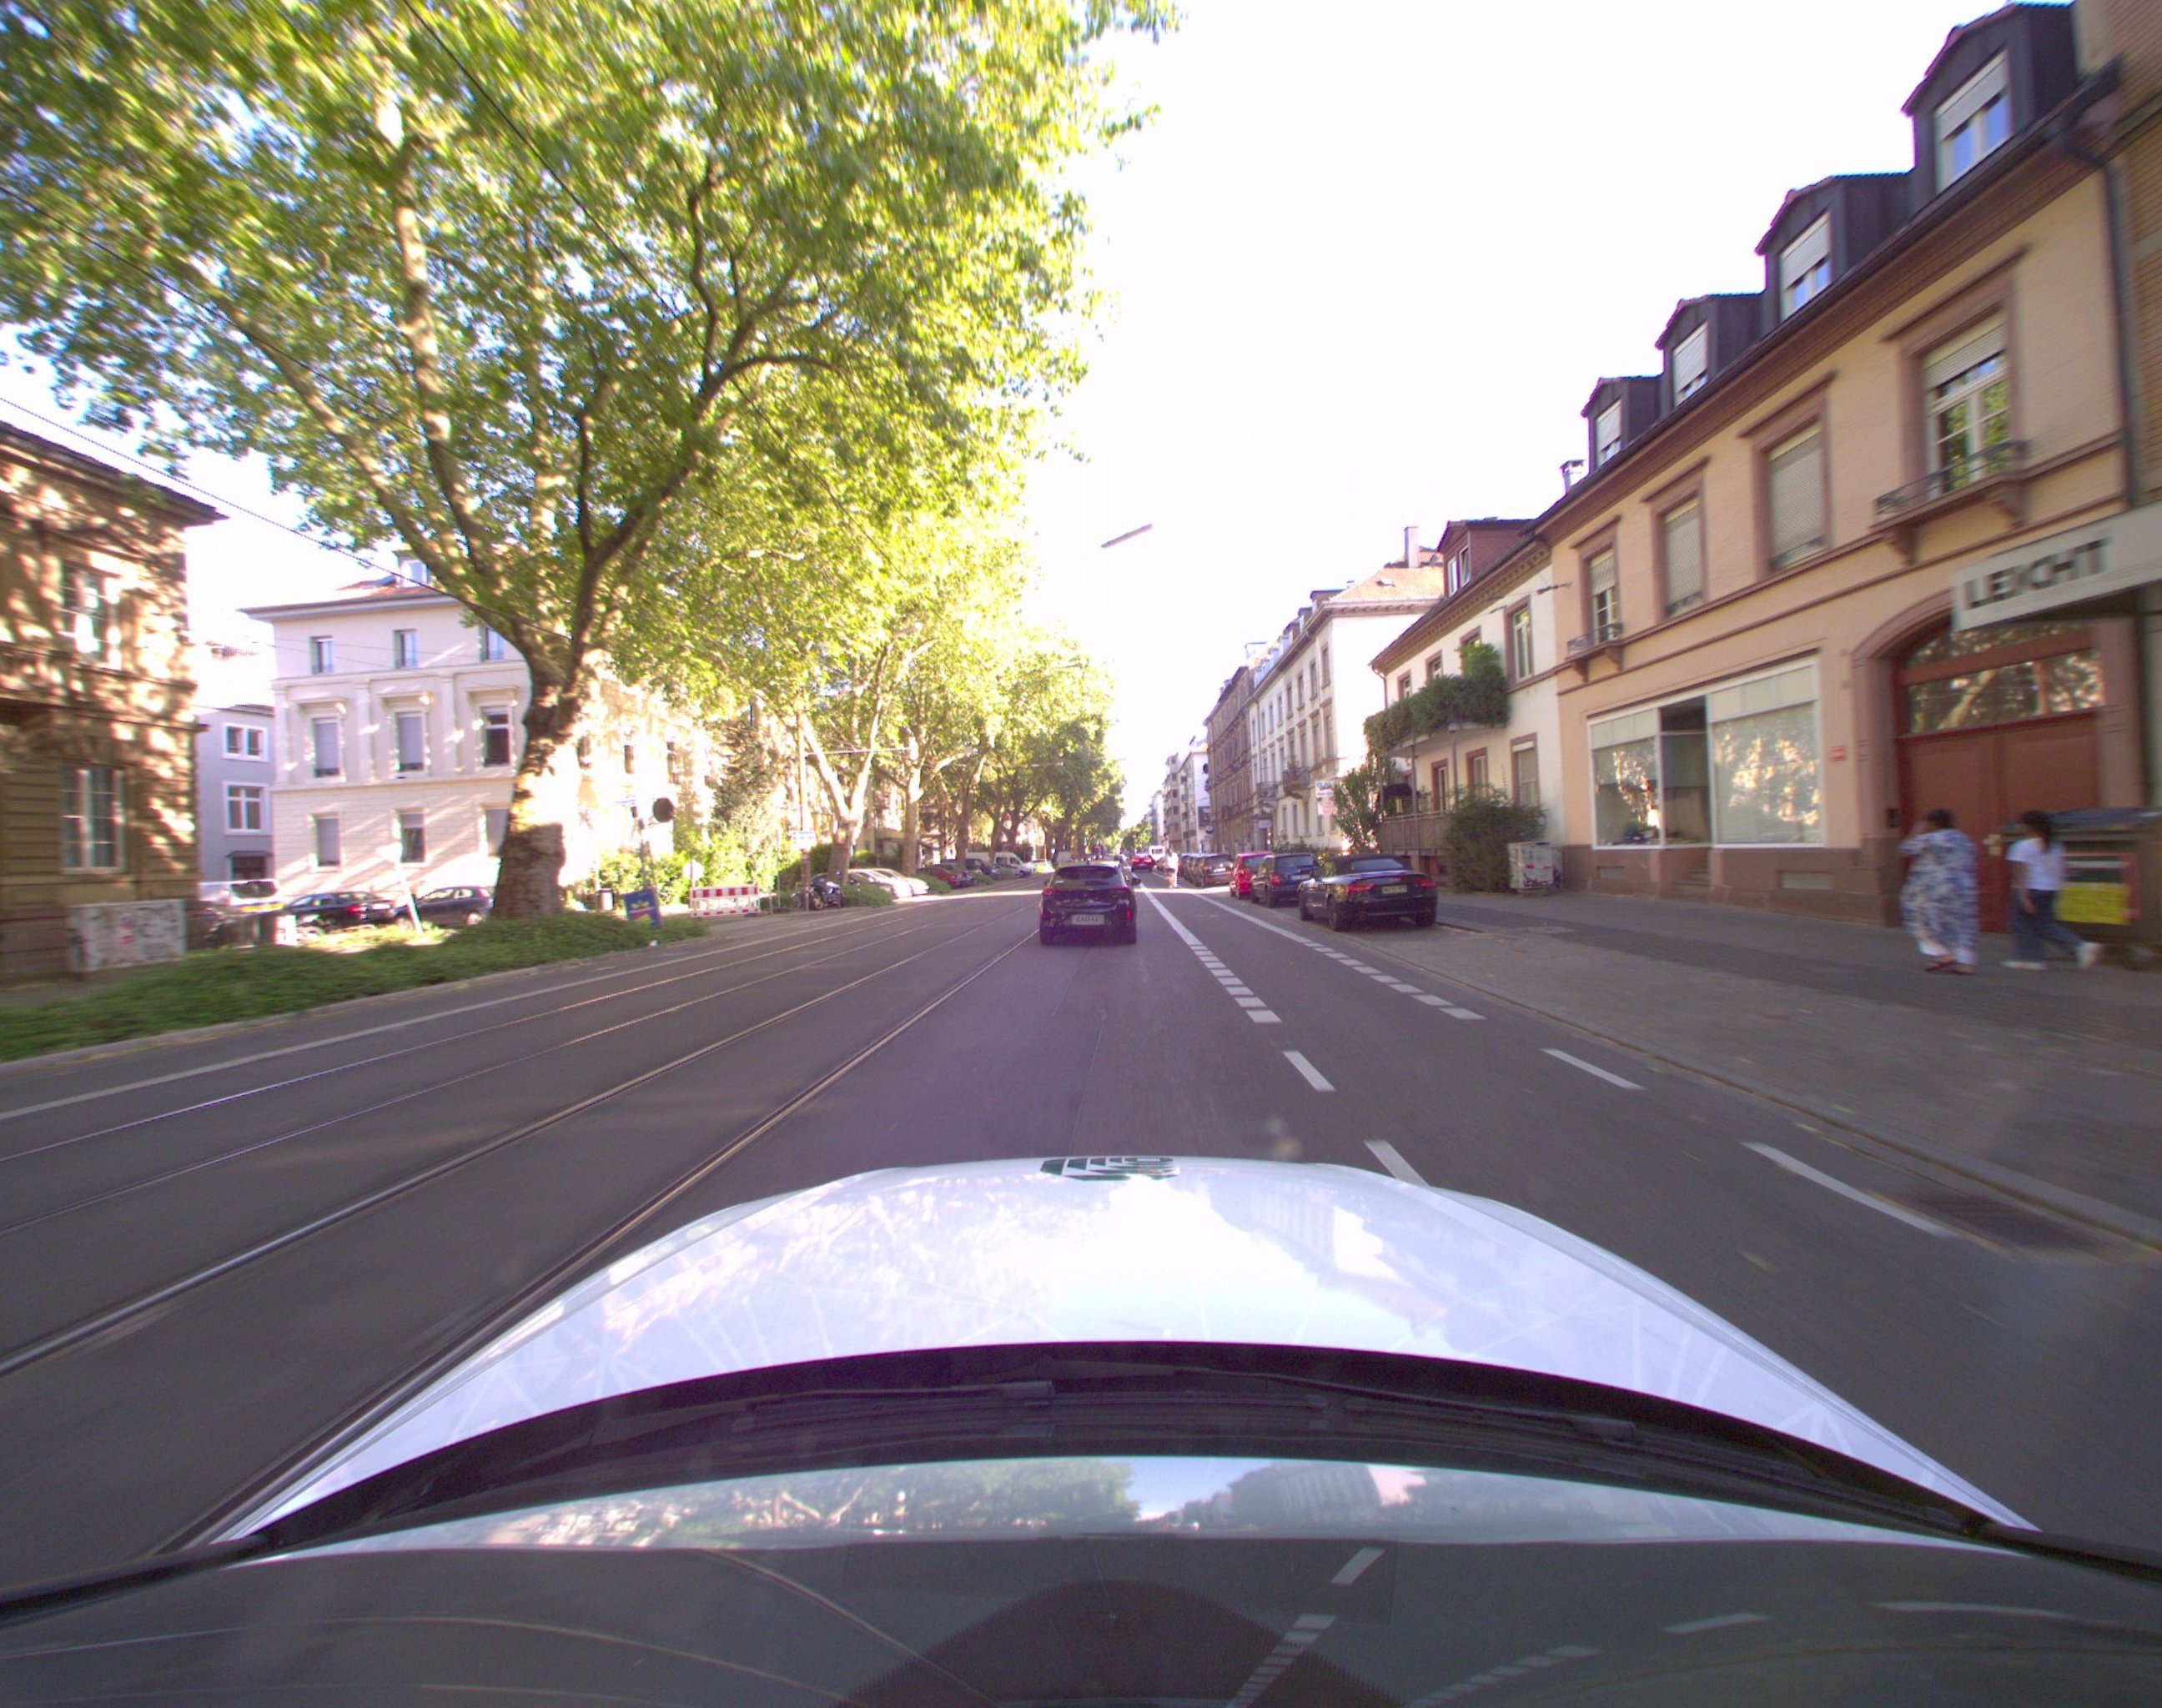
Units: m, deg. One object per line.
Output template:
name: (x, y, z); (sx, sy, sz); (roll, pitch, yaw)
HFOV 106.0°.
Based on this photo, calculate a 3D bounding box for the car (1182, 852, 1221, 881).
car: (7.160, 0.720, 48.715); (1.872, 1.456, 4.030); (-6, -1, 4)

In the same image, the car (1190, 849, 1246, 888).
car: (6.561, 0.691, 39.440); (1.874, 1.586, 3.931); (-6, -1, 0)

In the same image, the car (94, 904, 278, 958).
car: (-25.159, 2.128, 22.940); (3.891, 1.332, 1.855); (-1, -1, 14)

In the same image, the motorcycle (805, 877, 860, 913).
motorcycle: (-9.106, 1.492, 29.961); (0.879, 1.147, 2.397); (-2, 0, 11)

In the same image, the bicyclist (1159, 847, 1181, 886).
bicyclist: (4.063, 0.576, 37.210); (0.845, 1.740, 1.162); (-2, -1, 1)

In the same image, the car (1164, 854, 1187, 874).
car: (7.938, 0.816, 68.540); (1.696, 1.456, 3.703); (-6, -1, 6)

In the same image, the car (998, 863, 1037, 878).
car: (-6.689, 1.690, 85.535); (3.907, 1.498, 1.677); (-1, -1, 0)

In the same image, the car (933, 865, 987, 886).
car: (-9.024, 1.605, 60.934); (3.719, 1.498, 1.748); (-1, -1, 2)

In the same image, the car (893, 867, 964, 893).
car: (-9.296, 1.581, 49.717); (3.904, 1.442, 1.750); (-1, -1, 3)

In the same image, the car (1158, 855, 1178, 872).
car: (8.503, 0.929, 79.634); (1.654, 1.419, 3.937); (-6, -1, 4)

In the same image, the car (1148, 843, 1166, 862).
car: (9.853, -0.126, 106.124); (2.066, 2.219, 4.938); (-6, -1, 4)

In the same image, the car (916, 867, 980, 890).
car: (-8.837, 1.605, 54.419); (3.906, 1.421, 1.819); (-1, -1, 1)

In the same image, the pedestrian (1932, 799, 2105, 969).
pedestrian: (8.744, 0.269, 7.635); (0.655, 1.483, 0.786); (-2, -1, 2)

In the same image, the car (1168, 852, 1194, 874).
car: (7.756, 0.706, 63.487); (1.562, 1.517, 3.040); (-6, -1, 1)

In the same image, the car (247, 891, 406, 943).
car: (-26.113, 2.154, 28.259); (3.903, 1.418, 1.696); (-3, 1, 3)

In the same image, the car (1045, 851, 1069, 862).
car: (-4.144, 0.443, 140.386); (3.907, 1.790, 1.677); (-1, -1, 0)

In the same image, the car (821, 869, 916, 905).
car: (-9.948, 1.522, 38.377); (3.906, 1.453, 1.801); (-3, -1, 2)

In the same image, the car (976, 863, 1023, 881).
car: (-7.304, 1.585, 73.204); (3.902, 1.498, 1.679); (-1, -1, 4)

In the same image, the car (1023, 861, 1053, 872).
car: (-5.731, 1.694, 109.873); (3.907, 1.498, 1.677); (-1, -1, 0)

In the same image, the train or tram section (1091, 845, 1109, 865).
train or tram section: (3.852, 0.190, 159.040); (2.723, 3.681, 12.729); (-3, 0, 4)

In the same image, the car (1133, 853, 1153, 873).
car: (5.881, 0.868, 77.234); (1.802, 1.742, 3.937); (-3, 0, 4)

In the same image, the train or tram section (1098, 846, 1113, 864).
train or tram section: (5.596, 0.268, 184.398); (2.723, 3.681, 12.729); (-3, 0, 4)

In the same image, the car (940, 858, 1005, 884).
car: (-8.490, 1.330, 63.847); (4.654, 1.924, 1.982); (-1, -1, 4)

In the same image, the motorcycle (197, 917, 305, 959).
motorcycle: (-22.821, 2.282, 22.441); (0.714, 0.977, 1.963); (-1, -1, 15)

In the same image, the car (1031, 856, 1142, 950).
car: (0.169, 0.815, 15.257); (1.787, 1.441, 3.534); (-2, 0, 2)

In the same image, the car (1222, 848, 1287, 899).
car: (5.923, 0.647, 28.112); (1.627, 1.546, 3.580); (-4, -1, 4)

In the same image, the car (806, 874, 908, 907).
car: (-9.798, 1.581, 35.846); (3.903, 1.332, 1.849); (-1, -1, 3)

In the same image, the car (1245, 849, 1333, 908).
car: (5.917, 0.673, 23.589); (1.644, 1.456, 3.871); (-4, -1, 3)

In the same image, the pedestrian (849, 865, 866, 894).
pedestrian: (-14.727, 1.669, 53.706); (0.863, 1.849, 0.836); (-2, -1, -5)

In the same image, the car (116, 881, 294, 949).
car: (-31.522, 2.161, 29.370); (4.383, 2.002, 2.020); (-3, 2, 7)

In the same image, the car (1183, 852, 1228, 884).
car: (6.672, 0.723, 43.985); (1.792, 1.456, 3.770); (-6, -1, 2)

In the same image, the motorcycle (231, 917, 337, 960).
motorcycle: (-21.671, 2.277, 22.192); (0.714, 0.977, 1.963); (-1, -1, 15)

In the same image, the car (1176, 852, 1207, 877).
car: (7.377, 0.680, 54.839); (1.703, 1.483, 3.768); (-6, -1, 4)

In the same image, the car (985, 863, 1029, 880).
car: (-6.934, 1.637, 76.517); (3.906, 1.498, 1.677); (-1, -1, 1)

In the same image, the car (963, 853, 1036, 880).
car: (-7.857, 1.177, 78.945); (6.601, 2.409, 2.459); (-1, -1, 2)

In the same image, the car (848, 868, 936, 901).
car: (-9.536, 1.518, 41.224); (3.904, 1.462, 1.807); (-3, -1, 3)

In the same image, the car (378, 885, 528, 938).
car: (-21.504, 1.953, 27.970); (3.760, 1.418, 1.696); (-3, 2, 3)

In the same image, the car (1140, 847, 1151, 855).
car: (12.385, -0.481, 156.574); (1.802, 1.338, 3.937); (-6, -1, 4)

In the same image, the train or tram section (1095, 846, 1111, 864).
train or tram section: (4.698, 0.219, 171.736); (2.723, 3.681, 12.729); (-3, 0, 4)

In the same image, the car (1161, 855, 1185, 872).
car: (8.215, 0.853, 72.838); (1.802, 1.338, 3.937); (-6, -1, 4)

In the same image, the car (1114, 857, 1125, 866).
car: (6.666, 1.285, 141.390); (1.802, 1.338, 3.937); (-3, 0, 4)

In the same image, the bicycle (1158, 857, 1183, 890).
bicycle: (4.069, 0.879, 37.171); (0.857, 1.407, 2.525); (-2, 0, 2)

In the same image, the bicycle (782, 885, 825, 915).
bicycle: (-10.191, 1.673, 30.016); (0.537, 0.940, 2.040); (-2, 0, 11)

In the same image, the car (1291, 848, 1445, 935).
car: (5.517, 0.654, 16.262); (1.686, 1.392, 4.499); (-4, -1, 4)

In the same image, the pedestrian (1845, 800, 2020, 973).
pedestrian: (8.039, 0.294, 7.733); (0.657, 1.505, 0.866); (-4, -1, 2)

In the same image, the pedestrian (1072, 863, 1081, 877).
pedestrian: (-0.573, 1.926, 96.434); (0.672, 1.567, 0.773); (-3, -1, 42)

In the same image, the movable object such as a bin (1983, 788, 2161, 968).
movable object such as a bin: (9.749, 0.185, 7.551); (1.288, 1.520, 1.287); (-2, -1, 2)

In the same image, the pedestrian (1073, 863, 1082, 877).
pedestrian: (-0.409, 1.925, 97.244); (0.672, 1.567, 0.773); (-3, -1, 42)

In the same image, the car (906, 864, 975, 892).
car: (-8.954, 1.520, 52.016); (3.979, 1.627, 1.880); (-1, -1, 2)
